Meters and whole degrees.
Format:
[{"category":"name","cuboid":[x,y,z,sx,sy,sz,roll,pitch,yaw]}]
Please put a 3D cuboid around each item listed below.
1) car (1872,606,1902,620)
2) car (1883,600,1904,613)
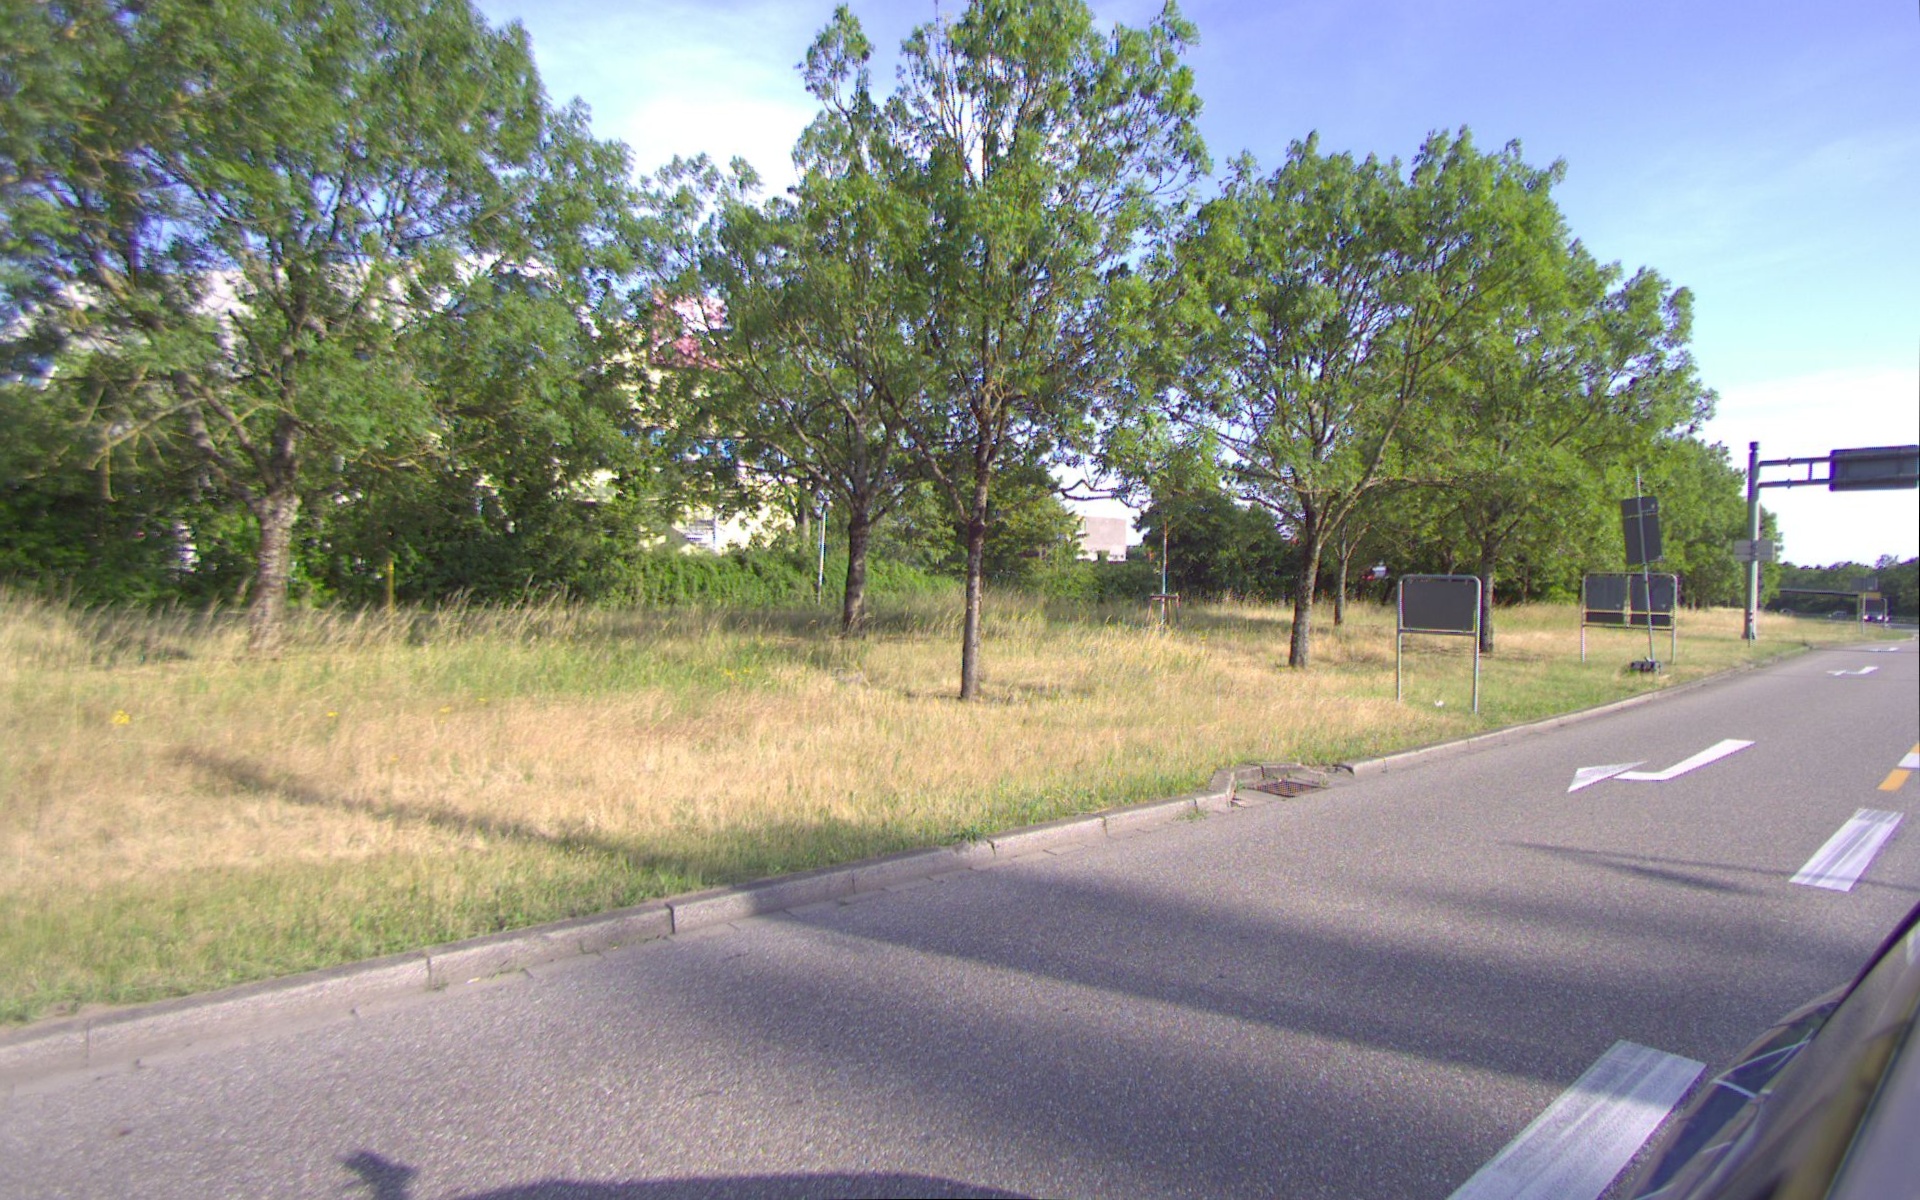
[{"category":"car","cuboid":[107.607,1.485,117.533,1.883,1.474,3.863,2,2,33]},{"category":"car","cuboid":[136.211,0.958,147.674,1.780,1.829,4.070,2,1,36]}]
